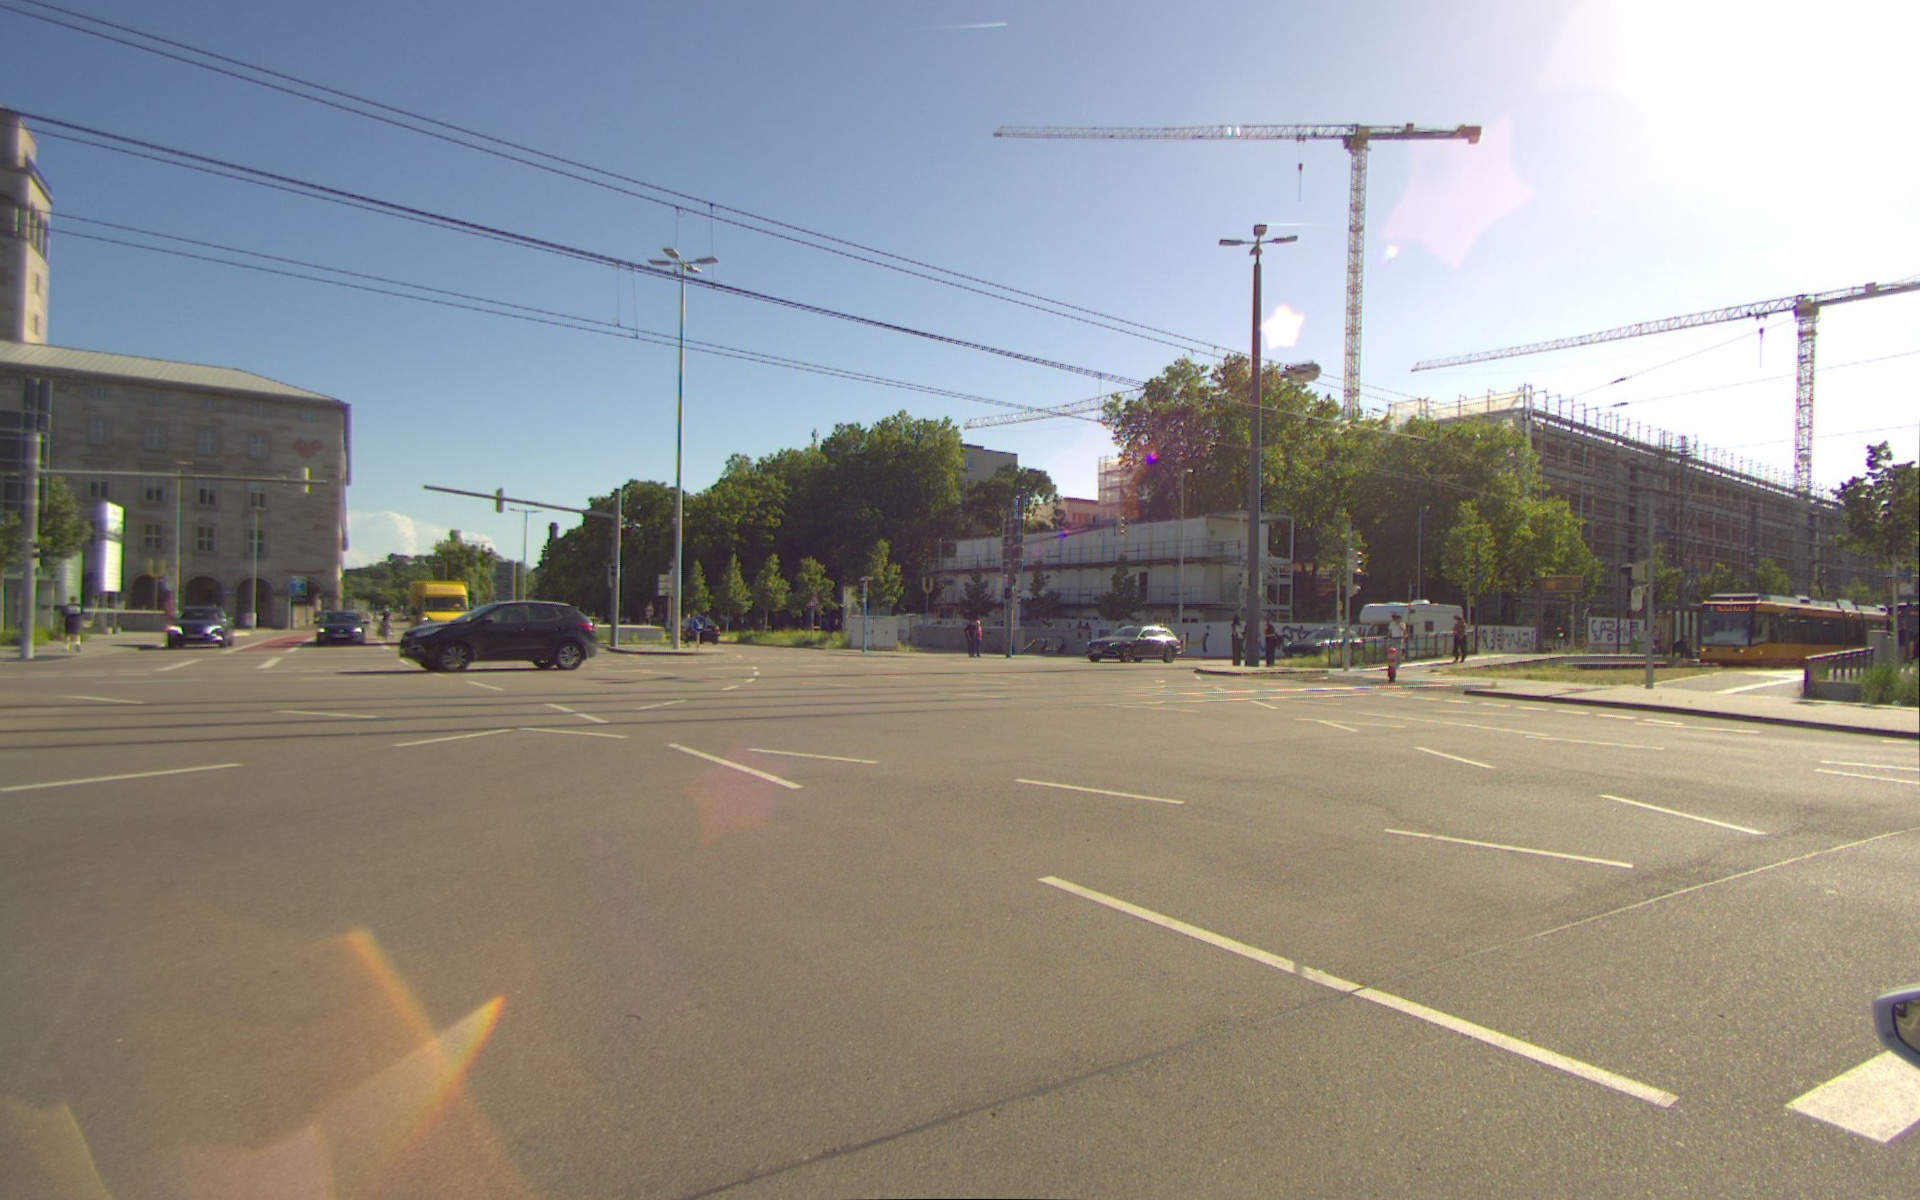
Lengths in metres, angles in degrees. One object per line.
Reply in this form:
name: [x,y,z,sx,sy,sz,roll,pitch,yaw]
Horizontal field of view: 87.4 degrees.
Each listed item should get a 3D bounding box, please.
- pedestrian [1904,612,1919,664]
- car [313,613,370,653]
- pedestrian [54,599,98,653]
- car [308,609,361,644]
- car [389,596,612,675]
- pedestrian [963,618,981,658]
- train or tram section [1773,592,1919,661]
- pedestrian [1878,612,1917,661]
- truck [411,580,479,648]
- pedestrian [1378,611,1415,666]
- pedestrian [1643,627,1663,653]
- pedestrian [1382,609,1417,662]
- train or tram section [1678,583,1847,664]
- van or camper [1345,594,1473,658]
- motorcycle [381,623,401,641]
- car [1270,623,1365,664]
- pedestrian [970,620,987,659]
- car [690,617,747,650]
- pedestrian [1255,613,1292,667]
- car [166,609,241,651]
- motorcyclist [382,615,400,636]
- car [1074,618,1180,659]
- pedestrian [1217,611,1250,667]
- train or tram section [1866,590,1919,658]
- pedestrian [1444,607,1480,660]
pedestrian: [33.766,1.338,35.302,0.951,1.799,0.697,1,1,-39]
car: [-26.259,1.376,42.749,1.881,1.559,3.968,2,-1,-30]
pedestrian: [-29.032,0.838,32.995,0.938,1.708,1.184,0,1,-35]
car: [-29.262,1.232,47.093,1.881,1.559,3.968,2,-1,-30]
car: [-11.042,0.832,24.323,4.526,1.730,1.976,2,-1,-42]
pedestrian: [0.549,1.736,46.106,0.686,1.847,0.596,1,-1,17]
train or tram section: [49.448,1.521,55.697,15.813,3.366,2.828,2,0,-36]
pedestrian: [35.363,1.356,37.879,1.179,1.799,0.867,1,1,-39]
truck: [-23.920,0.633,46.458,2.433,2.830,7.971,2,-1,-29]
pedestrian: [14.772,1.295,34.001,0.968,1.847,0.794,1,-1,-38]
pedestrian: [34.370,2.004,49.796,0.502,1.242,0.666,2,0,-38]
pedestrian: [15.824,1.269,36.192,0.968,1.847,0.794,1,-1,-38]
train or tram section: [37.895,1.132,47.163,12.948,3.354,2.850,2,1,-36]
van or camper: [22.289,1.286,49.697,7.274,2.976,2.586,2,-1,-37]
motorcycle: [-30.948,1.731,54.588,0.786,0.922,3.229,2,-2,-32]
car: [15.977,1.923,44.822,4.327,1.730,1.931,2,-1,-37]
pedestrian: [0.891,1.908,48.266,0.686,1.847,0.596,1,-1,17]
car: [-12.953,1.772,53.681,1.976,1.622,3.969,1,-1,-29]
pedestrian: [10.882,1.377,34.895,0.968,1.847,0.794,1,-1,-38]
car: [-30.392,1.190,40.467,1.881,1.559,3.968,2,-1,-30]
motorcyclist: [-30.764,1.391,54.312,0.786,1.096,1.010,2,-2,-33]
car: [7.017,1.586,41.854,1.973,1.582,4.801,0,-1,44]
pedestrian: [9.287,1.309,34.112,0.865,1.847,0.802,1,-1,-3]
train or tram section: [53.691,1.392,55.094,15.040,3.323,2.850,2,1,-36]
pedestrian: [17.999,1.197,35.998,0.968,1.847,0.794,1,-1,-38]
